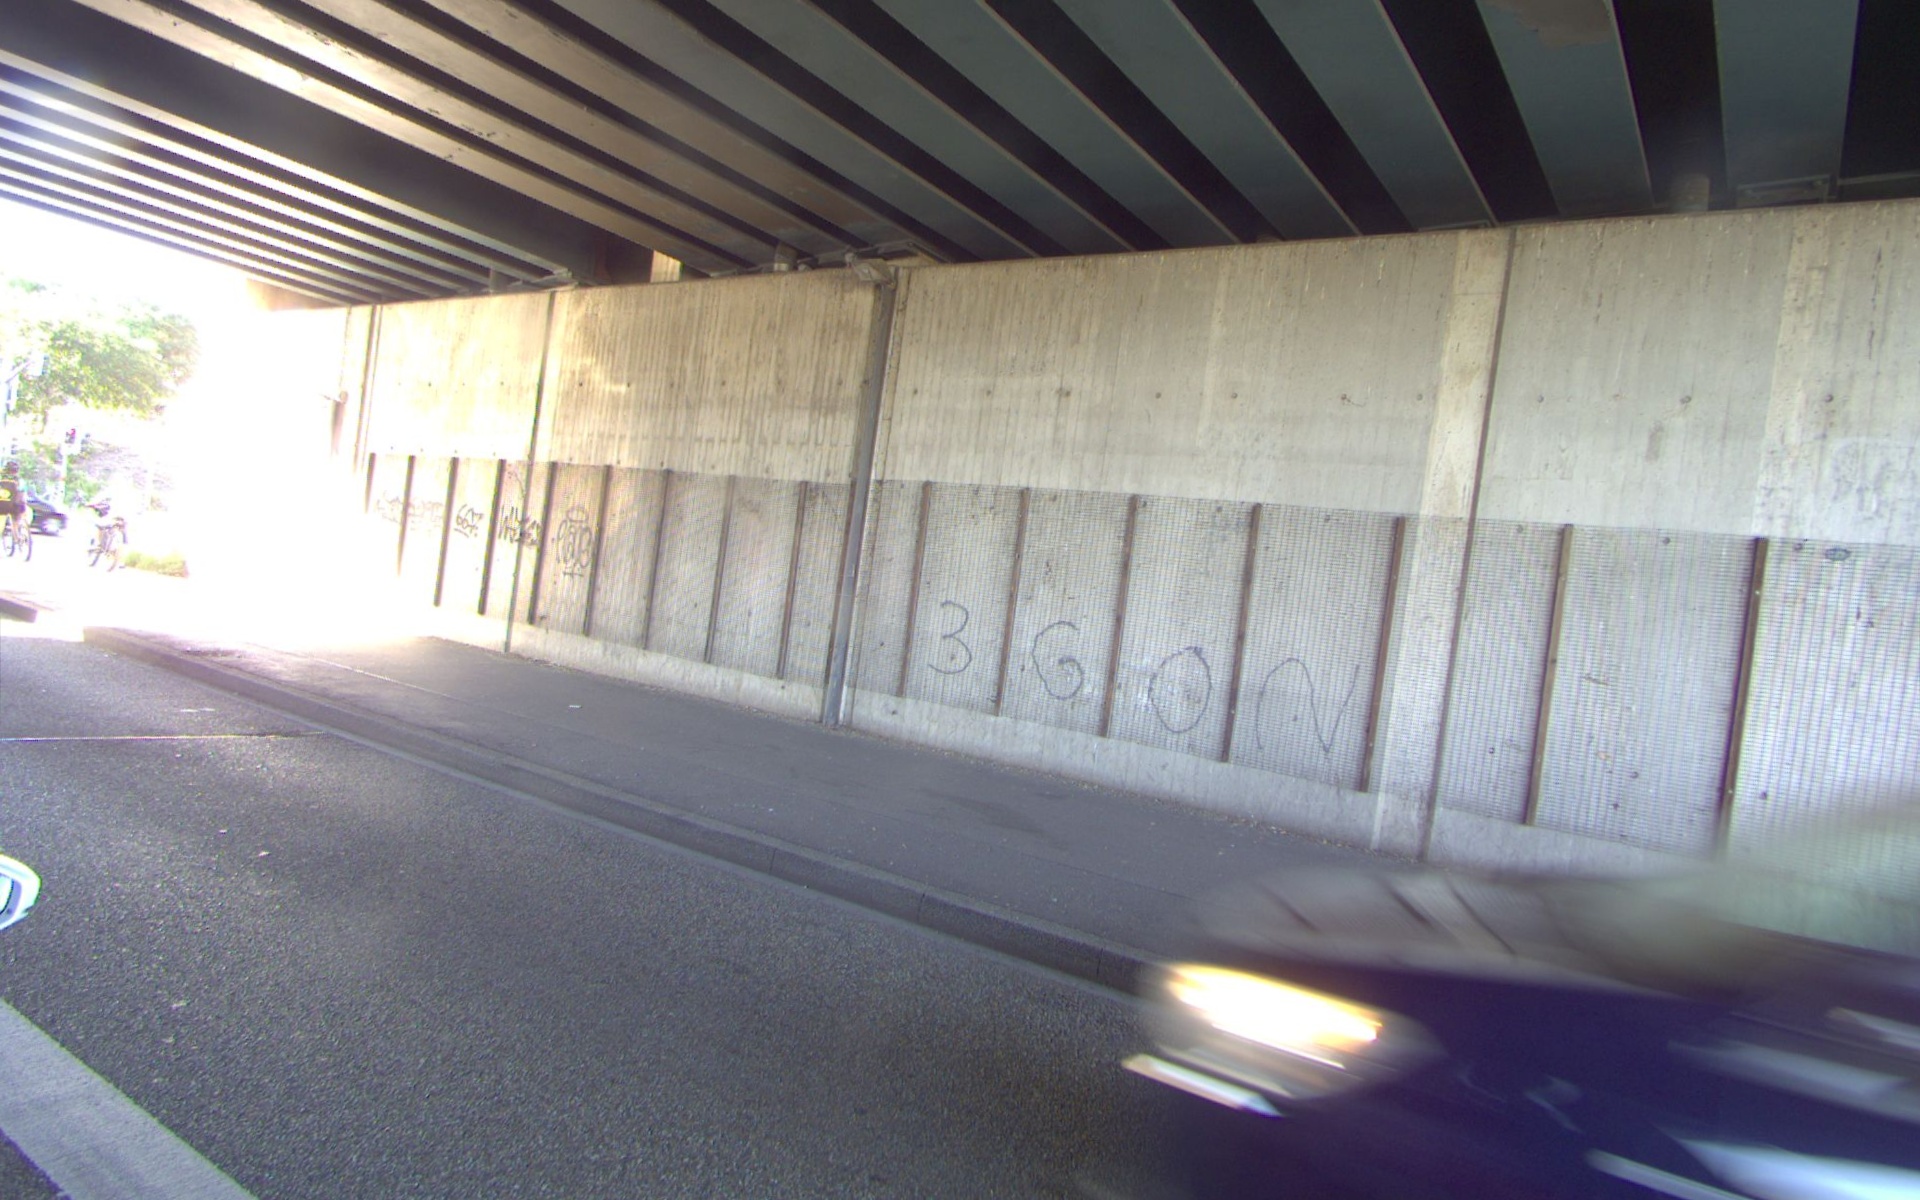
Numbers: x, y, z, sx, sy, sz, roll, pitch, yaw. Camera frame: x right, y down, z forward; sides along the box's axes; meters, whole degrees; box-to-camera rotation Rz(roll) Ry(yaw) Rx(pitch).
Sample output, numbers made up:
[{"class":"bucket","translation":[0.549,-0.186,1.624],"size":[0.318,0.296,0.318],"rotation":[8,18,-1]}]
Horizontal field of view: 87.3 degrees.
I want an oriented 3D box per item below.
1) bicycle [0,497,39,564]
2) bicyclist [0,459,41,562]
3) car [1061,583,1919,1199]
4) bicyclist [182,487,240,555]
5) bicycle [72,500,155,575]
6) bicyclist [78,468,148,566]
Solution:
[{"class":"bicycle","translation":[-16.140,-1.202,16.962],"size":[1.508,1.036,0.676],"rotation":[6,-2,43]},{"class":"bicyclist","translation":[-16.095,-1.522,16.966],"size":[0.635,1.647,0.676],"rotation":[6,-2,42]},{"class":"car","translation":[2.429,1.089,1.846],"size":[4.034,1.619,1.779],"rotation":[8,-2,29]},{"class":"bicyclist","translation":[-20.334,-2.140,27.332],"size":[0.736,1.675,0.885],"rotation":[7,-1,-6]},{"class":"bicycle","translation":[-14.651,-1.084,17.403],"size":[1.579,1.126,0.681],"rotation":[6,0,37]},{"class":"bicyclist","translation":[-14.715,-1.439,17.480],"size":[0.724,1.581,0.669],"rotation":[7,0,37]}]
